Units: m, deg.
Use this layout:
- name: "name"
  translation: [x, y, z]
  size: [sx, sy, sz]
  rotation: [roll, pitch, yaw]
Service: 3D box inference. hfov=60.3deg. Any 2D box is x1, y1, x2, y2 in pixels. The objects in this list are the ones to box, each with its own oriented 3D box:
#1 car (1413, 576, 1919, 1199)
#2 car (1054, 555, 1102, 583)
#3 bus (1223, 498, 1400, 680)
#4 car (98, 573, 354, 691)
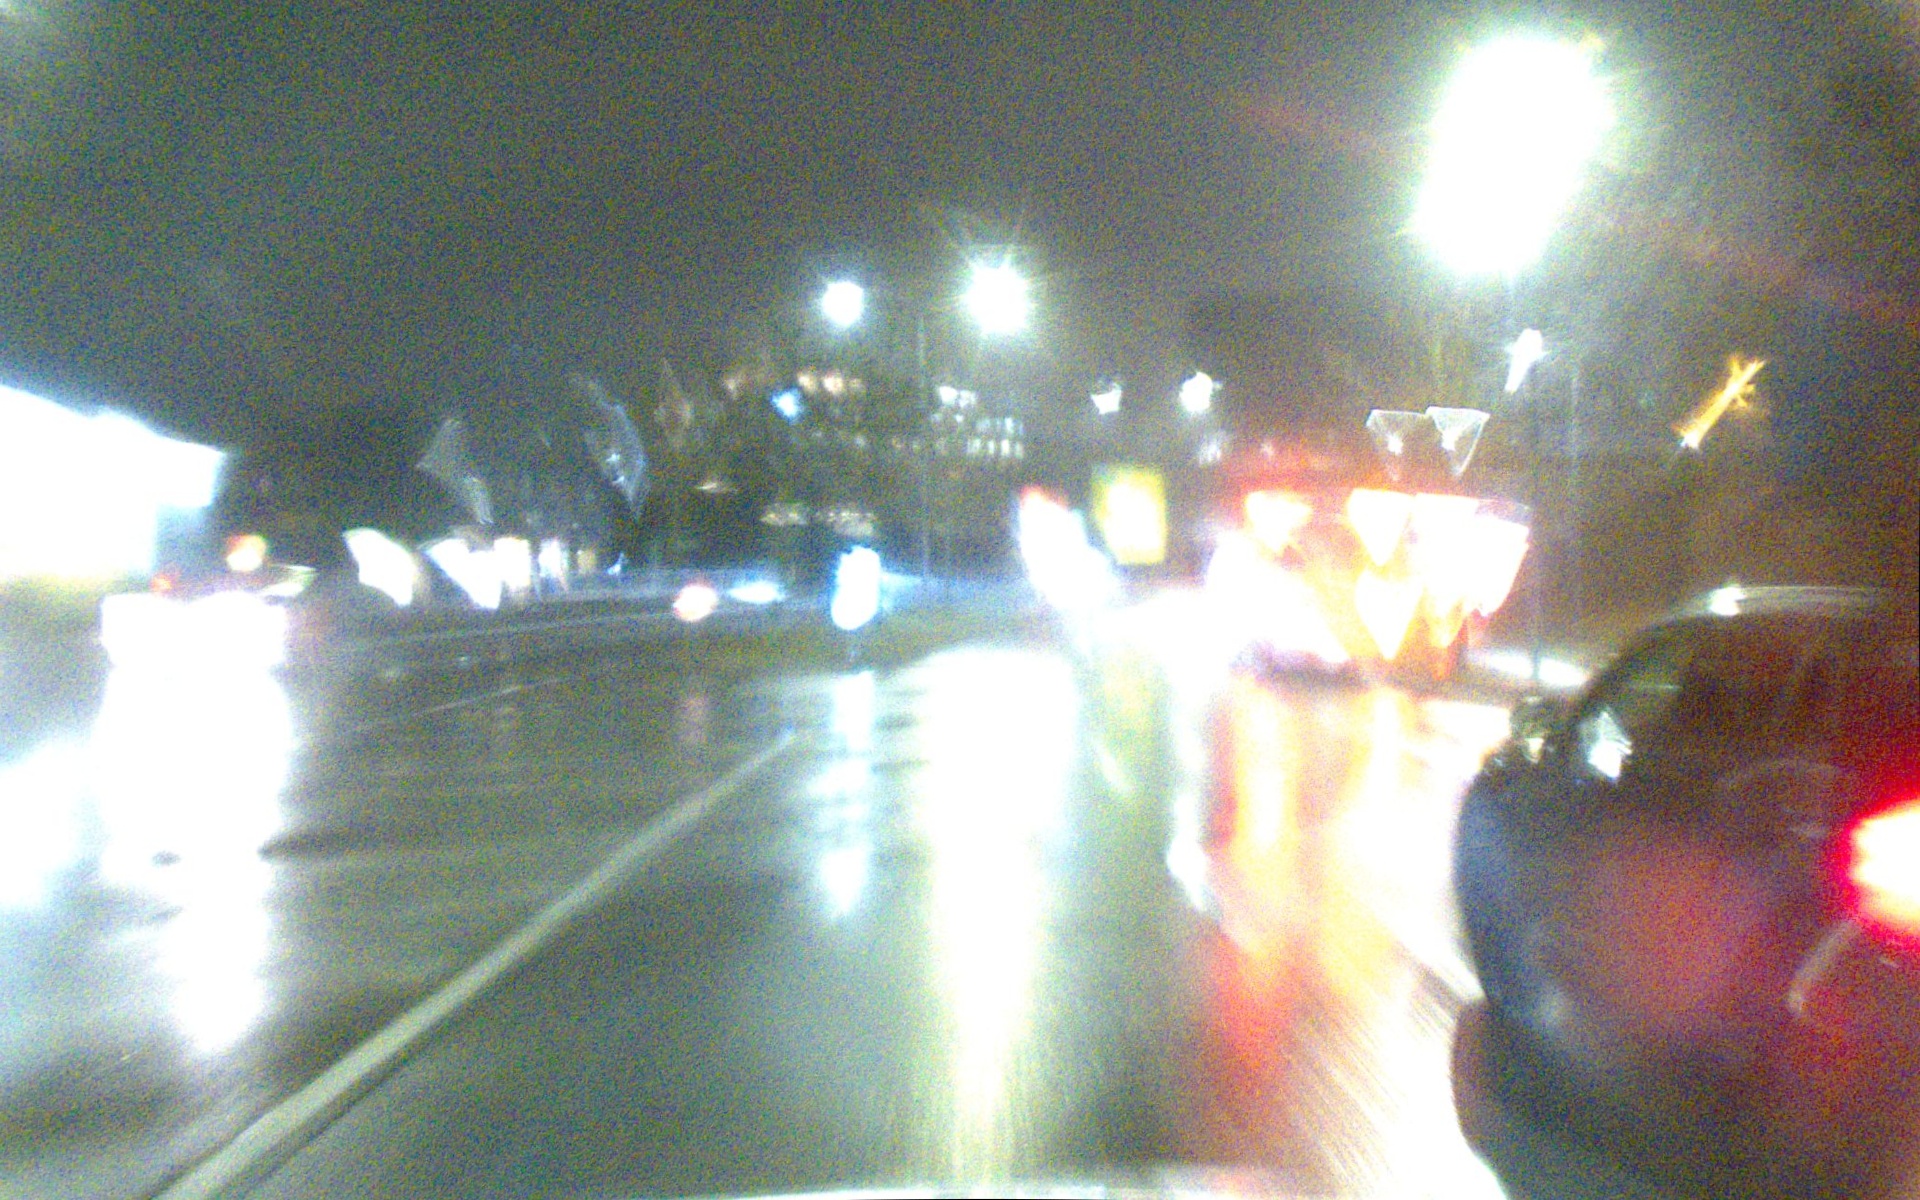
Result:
- name: "car"
  translation: [3.006, 0.724, 5.319]
  size: [1.953, 1.551, 3.999]
  rotation: [0, 0, -1]
- name: "car"
  translation: [6.691, -1.729, 93.344]
  size: [1.826, 1.489, 4.643]
  rotation: [-2, 1, 14]
- name: "bus"
  translation: [7.110, -0.218, 34.628]
  size: [2.978, 3.268, 9.058]
  rotation: [1, 0, 8]
- name: "car"
  translation: [-10.306, 0.416, 23.556]
  size: [1.729, 1.482, 3.954]
  rotation: [2, 0, 2]
